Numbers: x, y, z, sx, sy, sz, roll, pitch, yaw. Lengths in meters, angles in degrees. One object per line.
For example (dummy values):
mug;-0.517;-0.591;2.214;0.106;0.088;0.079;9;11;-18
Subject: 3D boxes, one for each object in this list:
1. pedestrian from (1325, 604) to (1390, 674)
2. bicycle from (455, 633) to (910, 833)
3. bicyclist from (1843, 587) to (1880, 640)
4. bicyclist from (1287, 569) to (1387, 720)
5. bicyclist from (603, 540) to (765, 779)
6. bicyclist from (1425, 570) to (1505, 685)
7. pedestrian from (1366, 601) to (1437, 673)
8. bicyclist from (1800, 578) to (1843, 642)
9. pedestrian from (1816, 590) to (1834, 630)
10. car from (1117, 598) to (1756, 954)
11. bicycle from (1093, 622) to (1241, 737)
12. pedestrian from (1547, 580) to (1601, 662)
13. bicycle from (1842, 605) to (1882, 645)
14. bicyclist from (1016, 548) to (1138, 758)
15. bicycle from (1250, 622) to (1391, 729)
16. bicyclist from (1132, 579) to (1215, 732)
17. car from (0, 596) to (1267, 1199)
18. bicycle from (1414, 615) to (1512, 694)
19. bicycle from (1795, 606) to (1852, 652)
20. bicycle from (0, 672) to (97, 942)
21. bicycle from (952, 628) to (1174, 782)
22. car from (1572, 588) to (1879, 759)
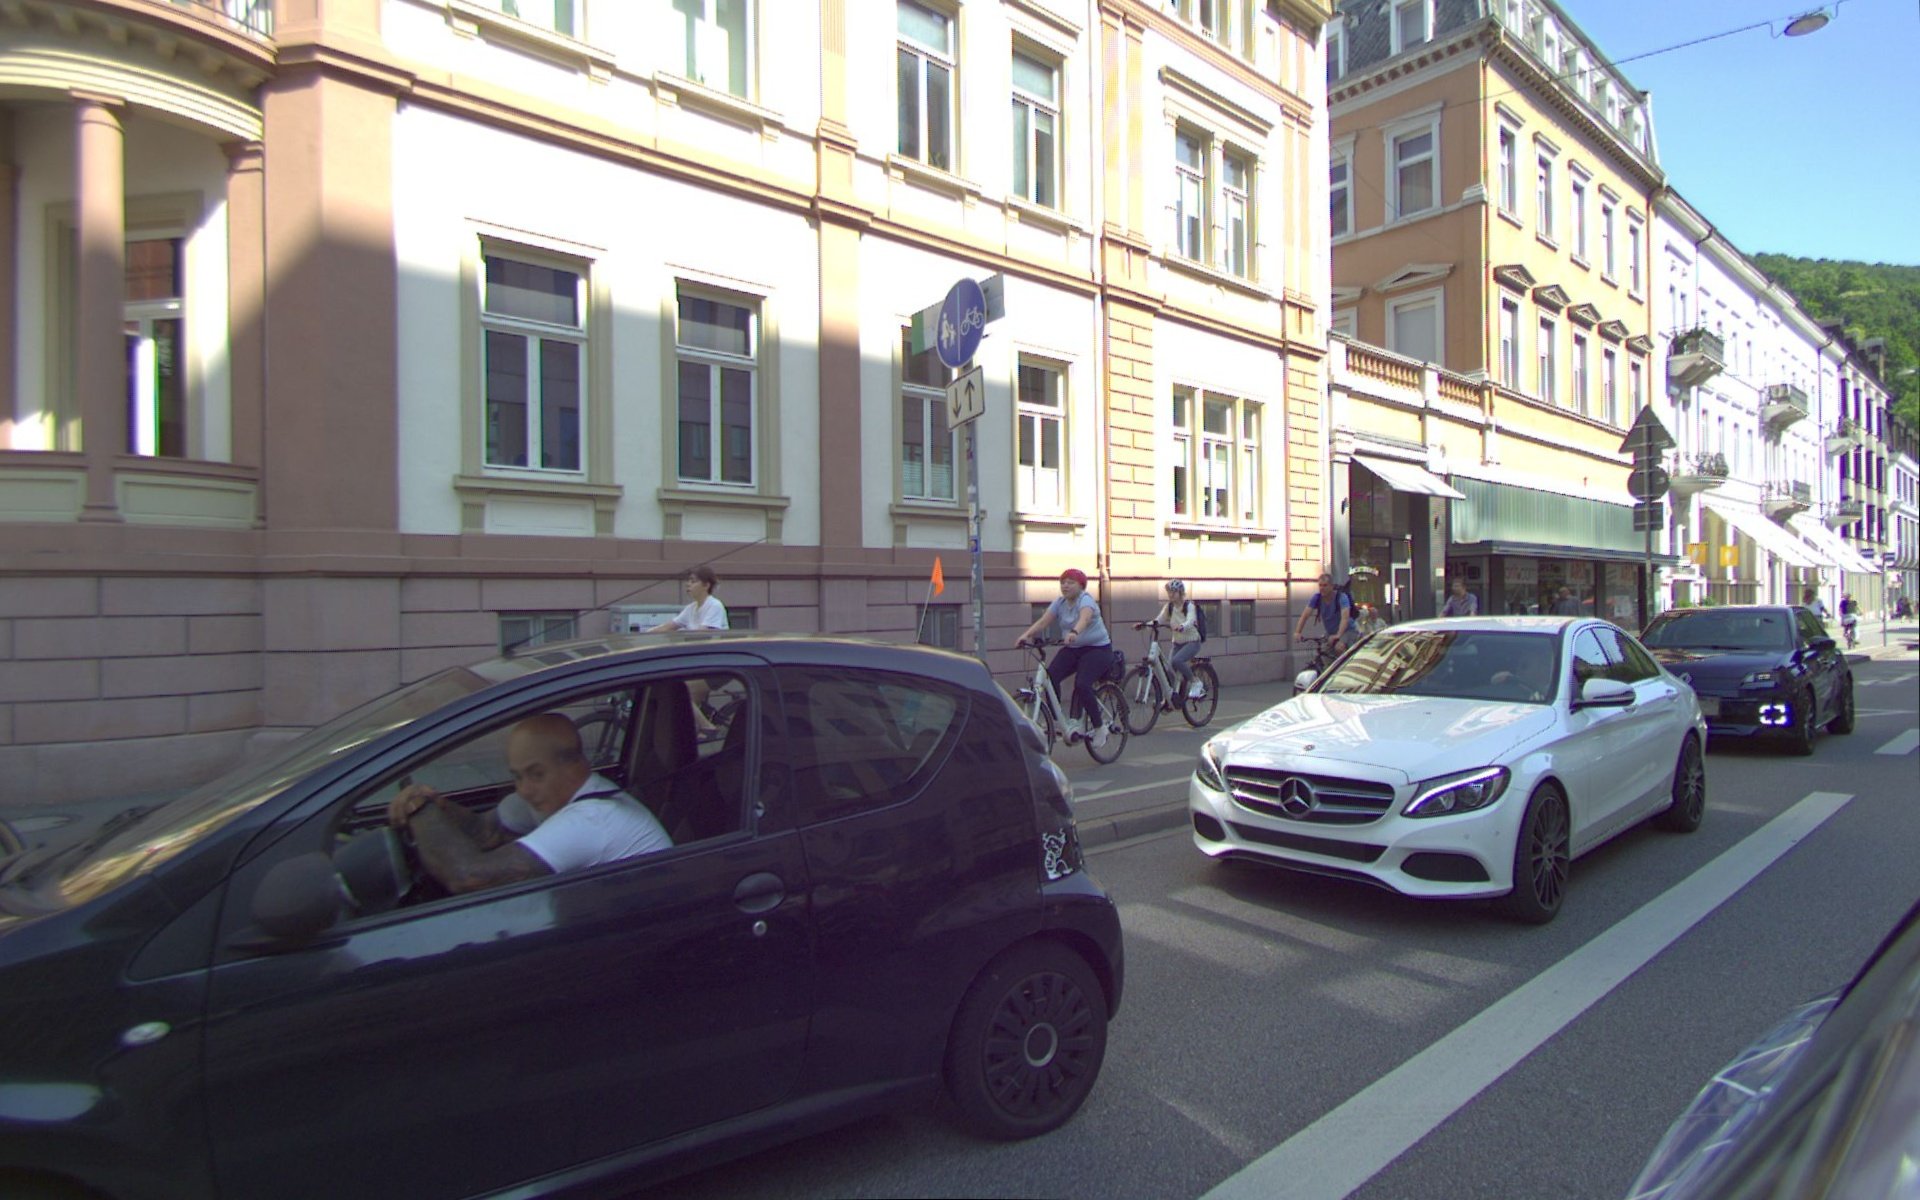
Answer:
pedestrian;7.868;0.753;20.044;0.614;1.333;1.031;0;0;-41
bicycle;-1.875;0.849;7.428;3.182;1.141;0.750;1;0;-39
bicyclist;28.136;0.409;31.577;0.829;1.593;0.747;0;0;-40
bicyclist;4.562;0.503;12.247;0.829;1.739;0.840;0;0;-40
bicyclist;-1.995;0.405;7.313;0.829;1.593;0.747;4;-2;-40
bicyclist;7.949;0.404;15.937;0.830;1.739;0.909;-1;0;-43
pedestrian;8.742;0.707;20.047;0.614;1.332;1.088;0;2;-41
bicyclist;23.607;0.261;27.728;1.017;1.724;0.747;0;0;-40
pedestrian;36.948;0.401;43.225;0.853;1.689;0.482;0;-1;-41
car;3.326;0.754;6.499;4.802;1.443;1.954;0;-2;-42
bicycle;2.351;0.847;11.396;1.826;1.141;0.607;0;1;-39
pedestrian;13.927;0.459;22.957;0.754;1.814;0.840;0;0;-40
bicycle;28.201;0.761;31.630;2.056;1.141;0.596;-1;2;-39
bicyclist;1.032;0.433;8.917;0.829;1.739;0.684;0;0;-40
bicycle;4.308;0.852;12.021;1.956;1.132;0.663;0;0;-39
bicyclist;2.414;0.594;11.414;0.829;1.656;0.516;0;0;-40
car;-1.017;0.798;2.994;3.658;1.497;1.635;-2;0;-31
bicycle;7.939;0.820;15.939;1.885;1.132;0.747;0;0;-42
bicycle;23.848;0.781;27.919;2.527;1.141;0.743;-1;2;-39
bicycle;-4.947;0.933;4.197;2.043;1.141;0.571;1;0;-44
bicycle;0.940;0.852;8.877;1.997;1.141;0.737;0;1;-39
car;8.725;0.705;11.403;4.216;1.511;1.888;-1;-2;-41
